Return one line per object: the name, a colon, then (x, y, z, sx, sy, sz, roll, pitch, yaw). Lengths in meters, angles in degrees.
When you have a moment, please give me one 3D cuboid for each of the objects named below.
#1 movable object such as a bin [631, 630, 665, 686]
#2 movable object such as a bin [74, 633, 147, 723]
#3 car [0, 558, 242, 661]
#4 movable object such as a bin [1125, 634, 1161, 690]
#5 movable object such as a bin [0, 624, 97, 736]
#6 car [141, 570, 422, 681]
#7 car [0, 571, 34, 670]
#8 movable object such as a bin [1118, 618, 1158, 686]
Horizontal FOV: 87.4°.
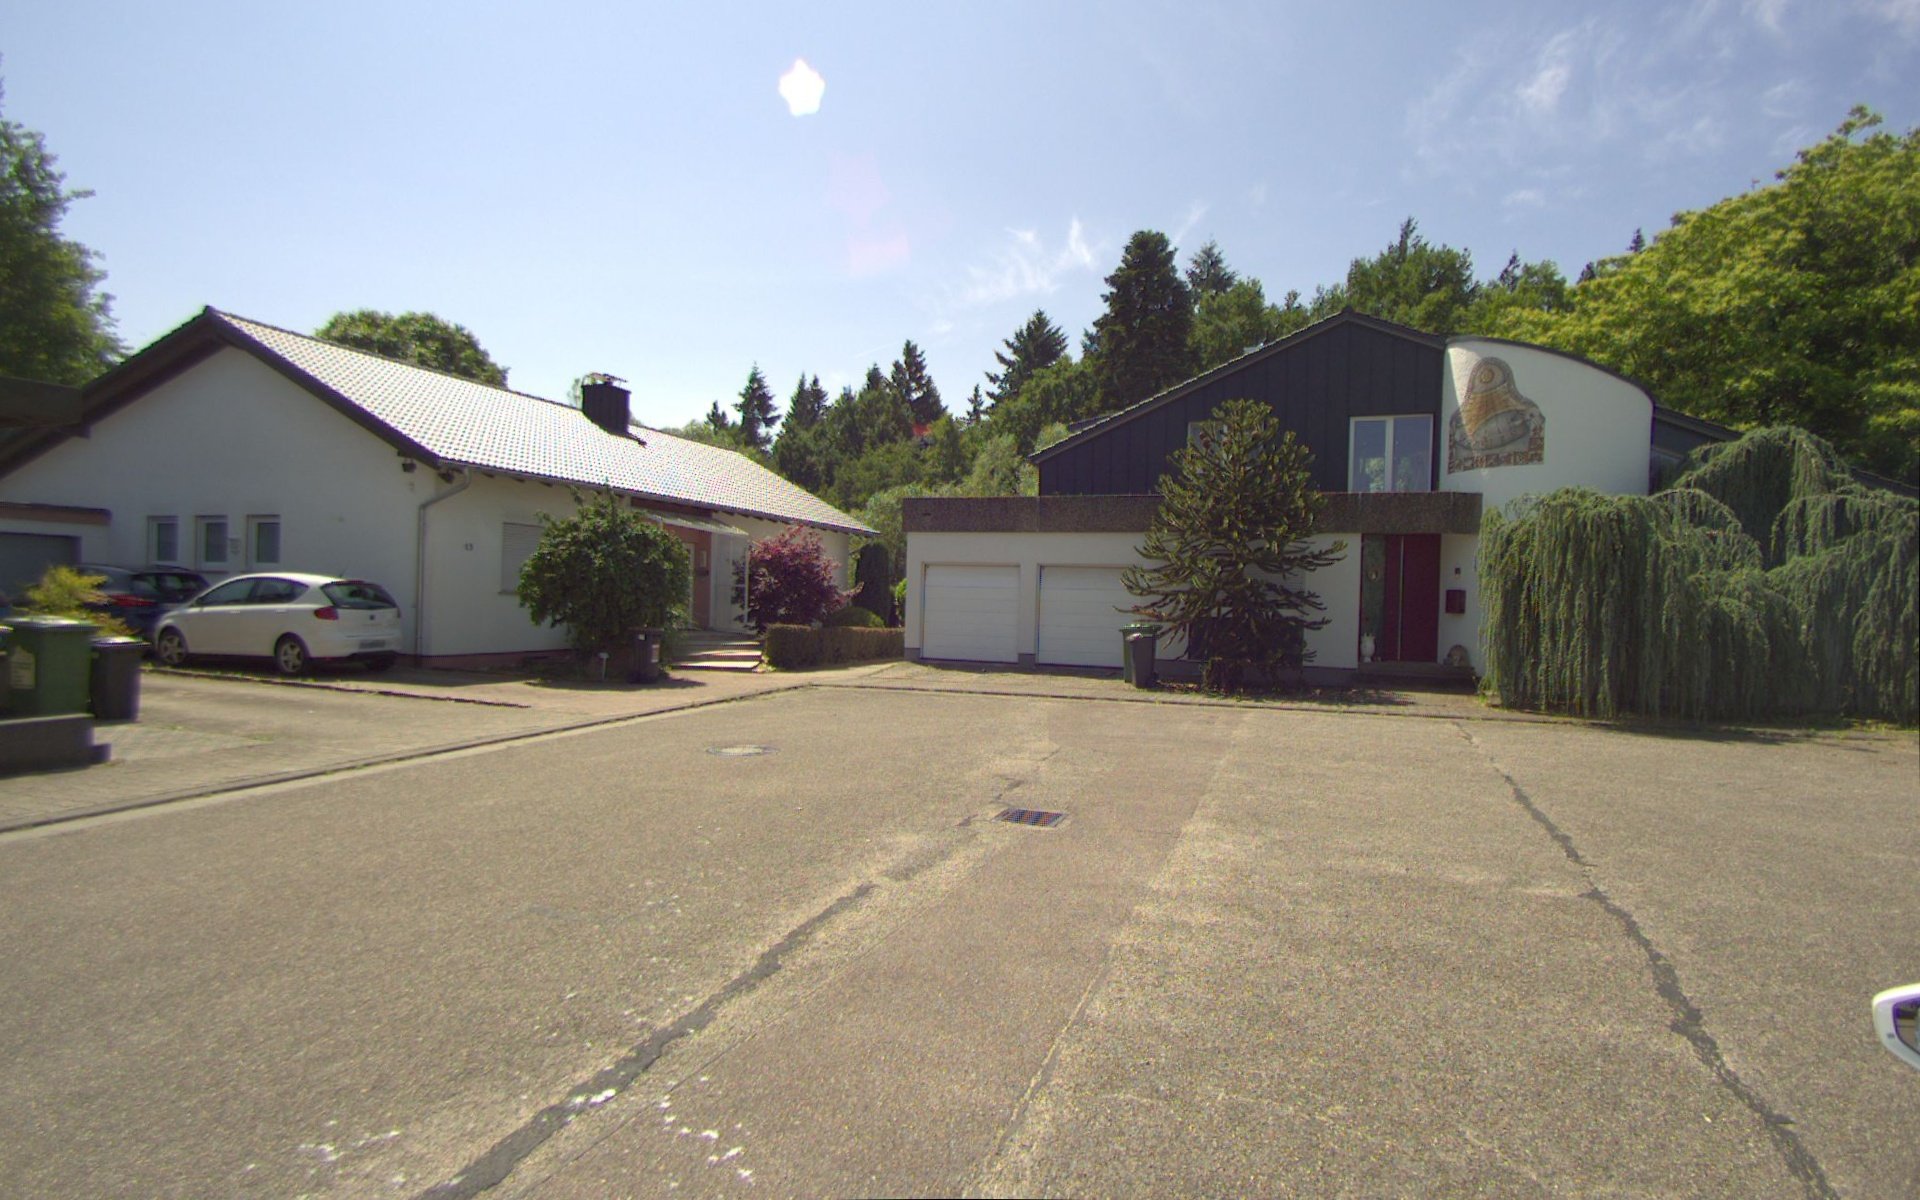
movable object such as a bin: (-5.167, 0.954, 16.638, 0.383, 0.903, 0.375, 2, 1, 20)
movable object such as a bin: (-8.960, 0.814, 10.602, 0.418, 0.903, 0.408, 1, 1, 12)
car: (-15.370, 0.130, 18.241, 3.922, 1.629, 1.928, 2, 1, 21)
movable object such as a bin: (3.266, 1.104, 17.947, 0.514, 0.962, 0.389, 2, 0, -6)
movable object such as a bin: (-9.145, 0.783, 10.049, 0.482, 1.055, 0.593, 1, 1, 13)
car: (-11.136, 0.382, 16.534, 3.920, 1.589, 1.752, 2, 0, 17)
car: (-16.007, 0.226, 15.198, 3.190, 1.474, 1.620, 3, 0, 20)
movable object such as a bin: (3.326, 0.957, 18.753, 0.621, 1.219, 0.551, 2, 0, 21)
